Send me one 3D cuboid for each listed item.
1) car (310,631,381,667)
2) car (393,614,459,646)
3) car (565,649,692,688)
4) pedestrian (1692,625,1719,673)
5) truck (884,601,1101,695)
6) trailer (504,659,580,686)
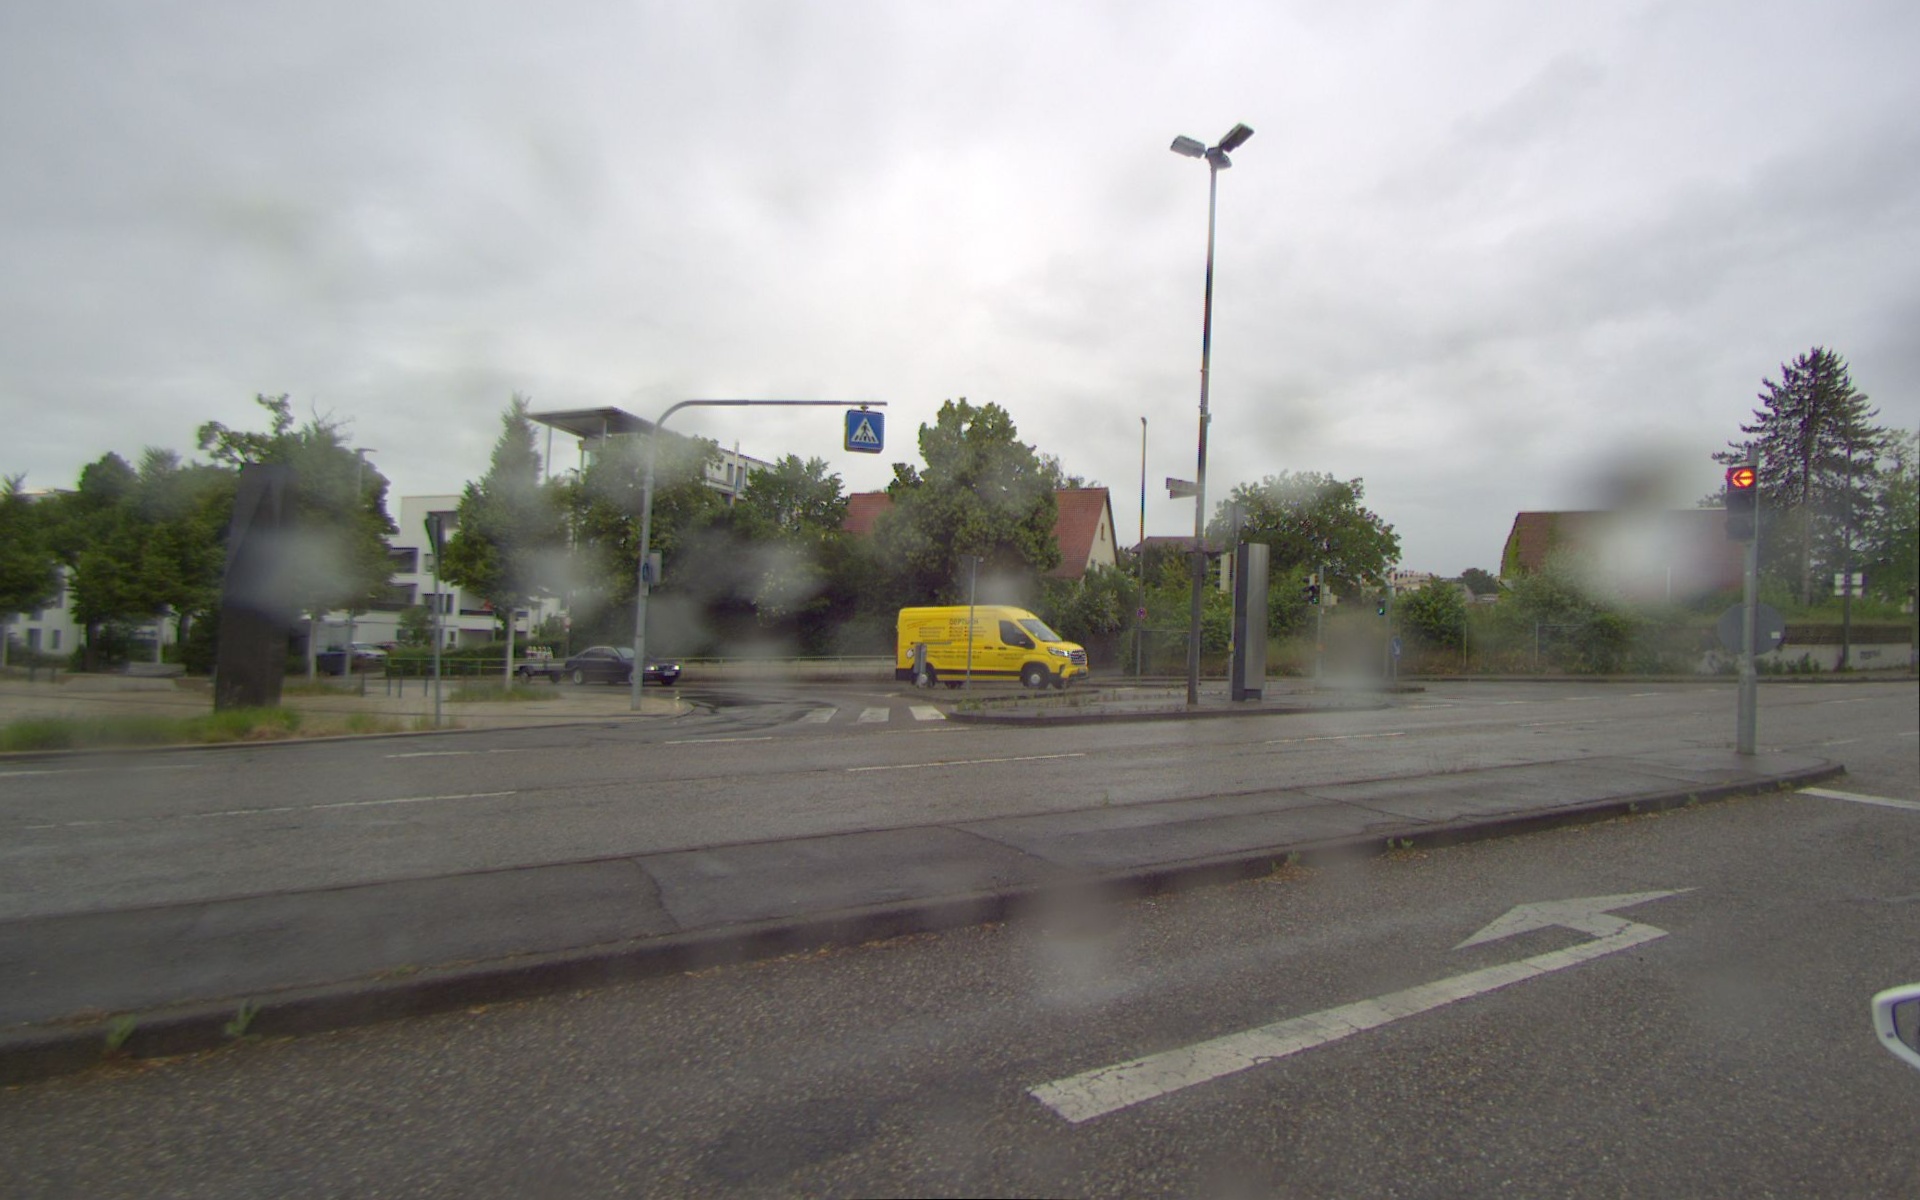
[{"bbox_3d":[-39.483,3.117,64.552,3.921,2.040,1.791,2,0,20],"label":"car"},{"bbox_3d":[-36.552,2.024,68.735,3.921,2.040,1.791,2,0,20],"label":"car"},{"bbox_3d":[-11.928,2.430,36.127,4.275,1.335,1.863,-1,-3,27],"label":"car"},{"bbox_3d":[25.801,1.691,34.772,0.490,1.663,0.553,0,-3,0],"label":"pedestrian"},{"bbox_3d":[0.907,1.449,29.738,6.062,2.571,2.226,-2,-4,27],"label":"truck"},{"bbox_3d":[-15.925,2.750,38.290,2.244,0.991,1.607,-2,-4,27],"label":"trailer"}]
